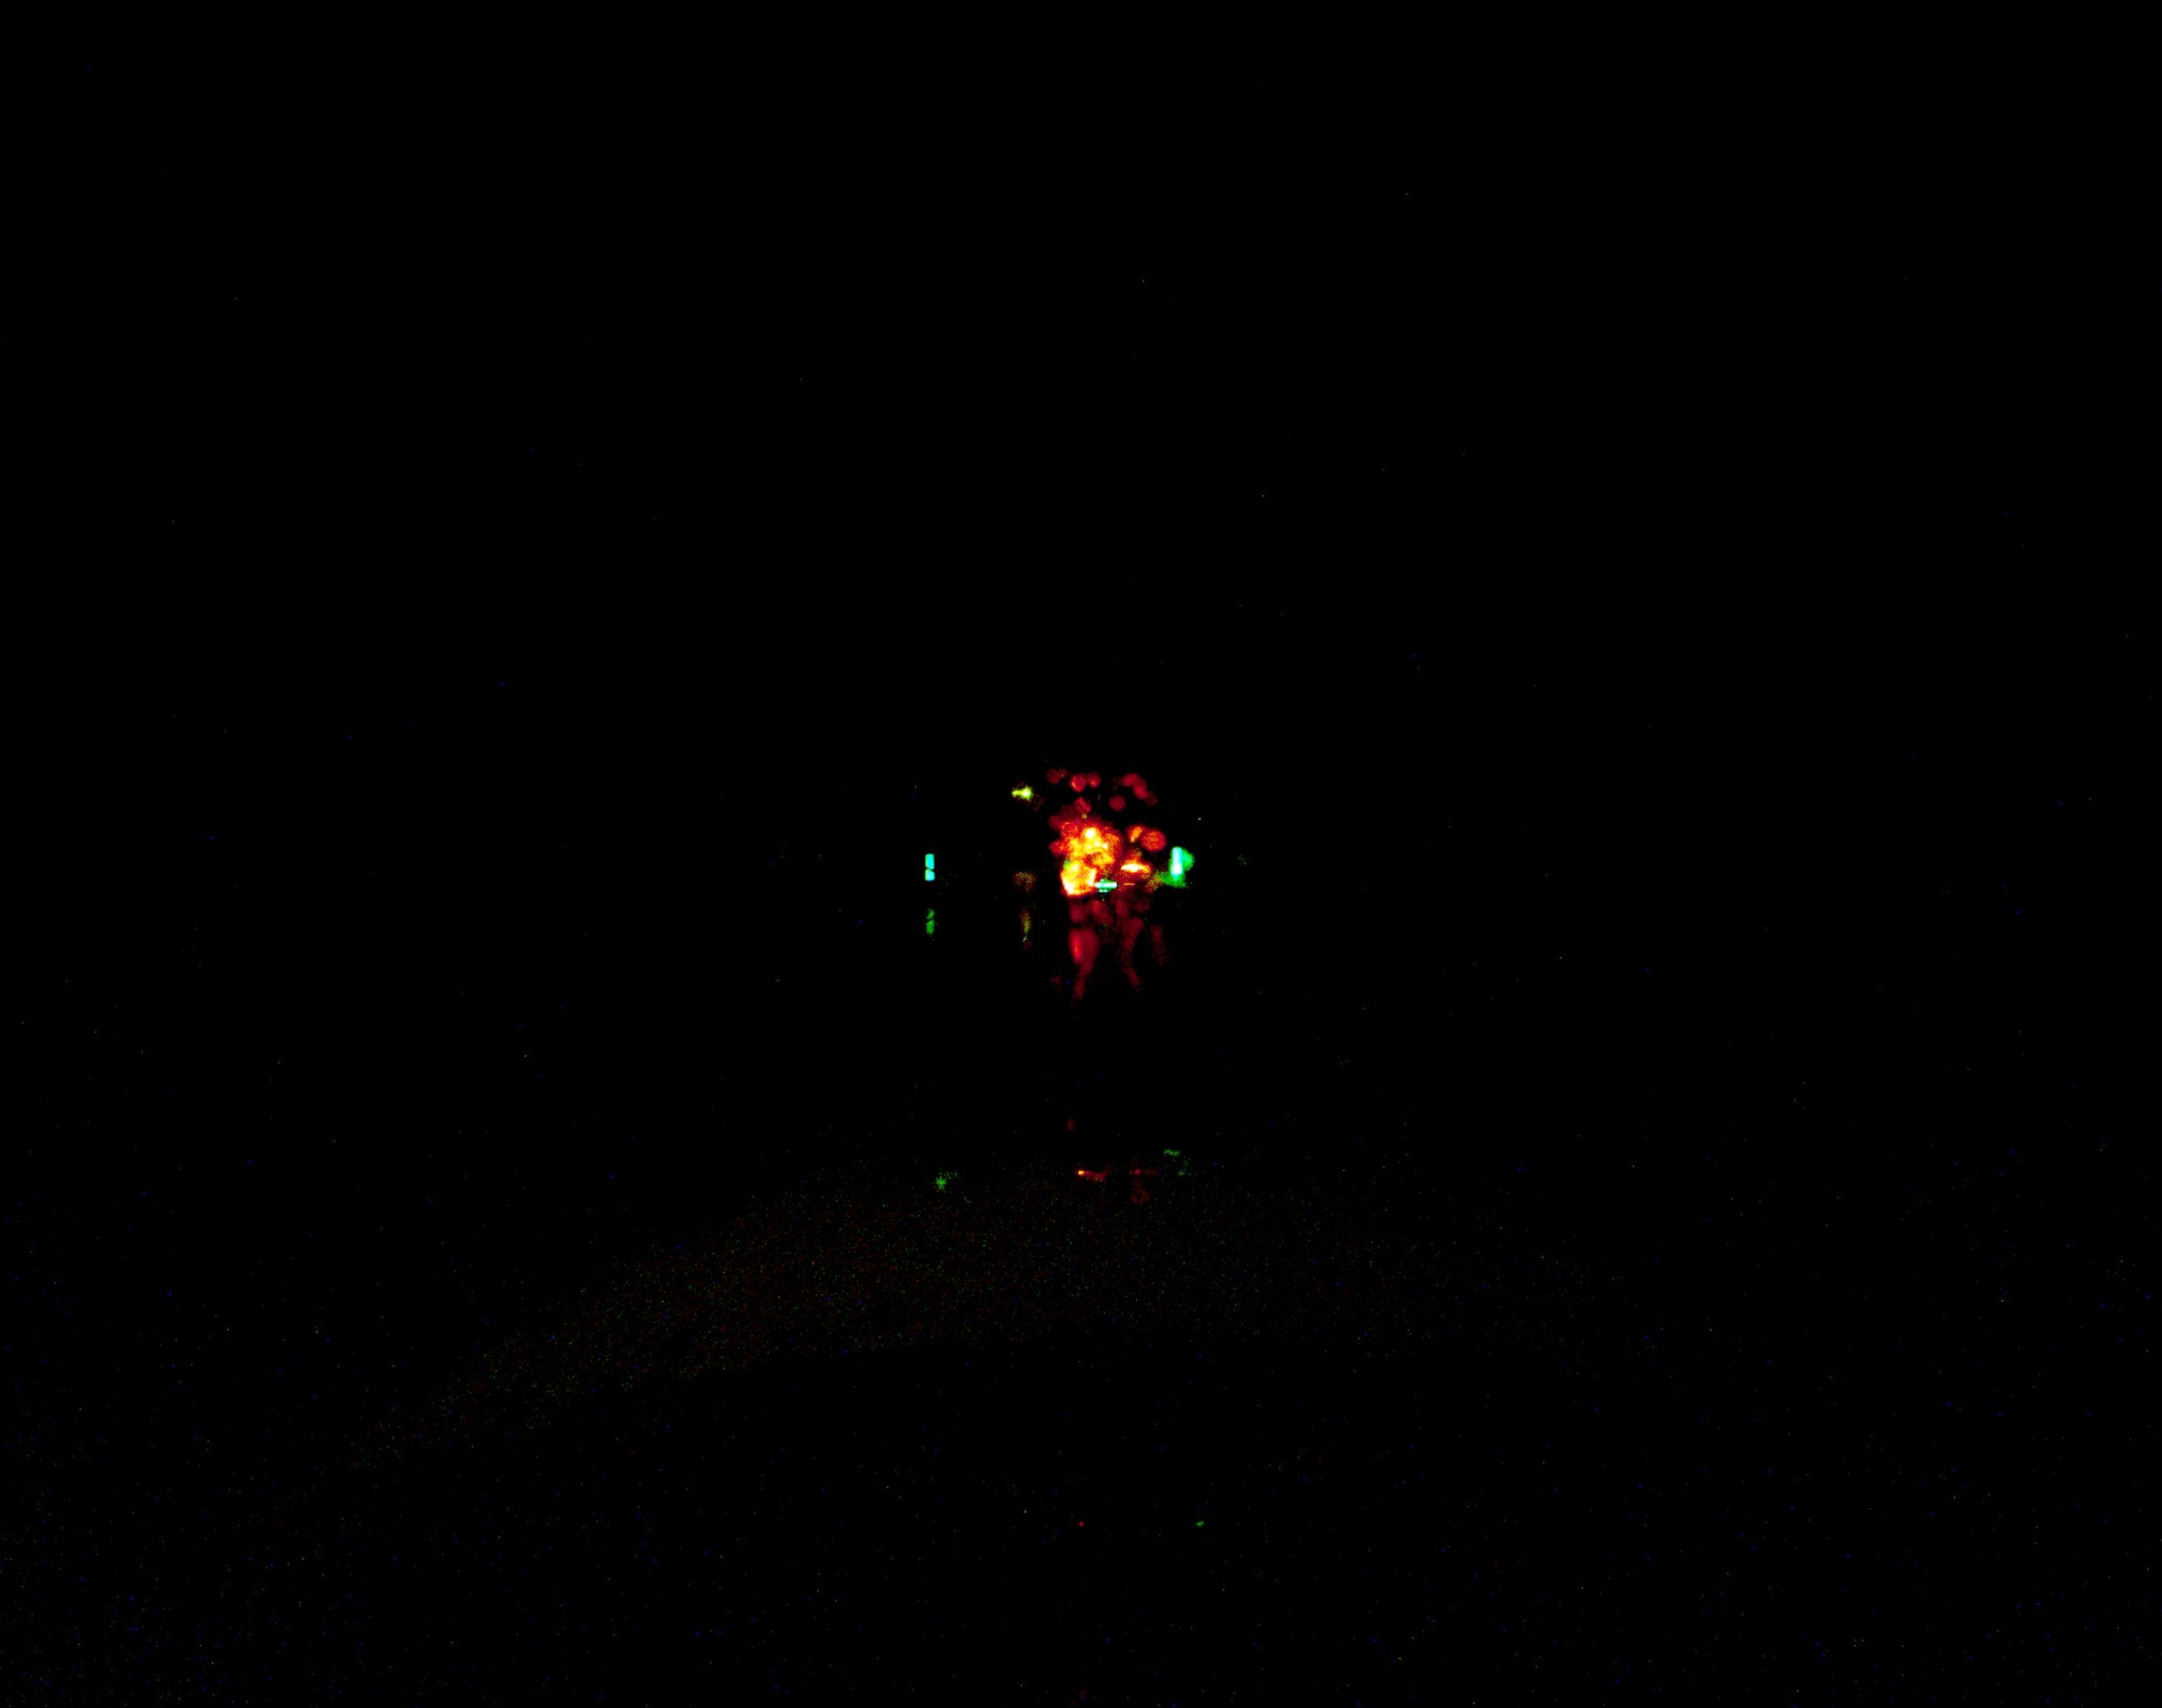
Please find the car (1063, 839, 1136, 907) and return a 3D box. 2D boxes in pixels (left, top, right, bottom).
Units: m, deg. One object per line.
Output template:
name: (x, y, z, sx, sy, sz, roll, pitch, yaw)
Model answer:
car: (0.574, 0.458, 22.391, 1.783, 1.681, 3.908, -1, 1, 3)
